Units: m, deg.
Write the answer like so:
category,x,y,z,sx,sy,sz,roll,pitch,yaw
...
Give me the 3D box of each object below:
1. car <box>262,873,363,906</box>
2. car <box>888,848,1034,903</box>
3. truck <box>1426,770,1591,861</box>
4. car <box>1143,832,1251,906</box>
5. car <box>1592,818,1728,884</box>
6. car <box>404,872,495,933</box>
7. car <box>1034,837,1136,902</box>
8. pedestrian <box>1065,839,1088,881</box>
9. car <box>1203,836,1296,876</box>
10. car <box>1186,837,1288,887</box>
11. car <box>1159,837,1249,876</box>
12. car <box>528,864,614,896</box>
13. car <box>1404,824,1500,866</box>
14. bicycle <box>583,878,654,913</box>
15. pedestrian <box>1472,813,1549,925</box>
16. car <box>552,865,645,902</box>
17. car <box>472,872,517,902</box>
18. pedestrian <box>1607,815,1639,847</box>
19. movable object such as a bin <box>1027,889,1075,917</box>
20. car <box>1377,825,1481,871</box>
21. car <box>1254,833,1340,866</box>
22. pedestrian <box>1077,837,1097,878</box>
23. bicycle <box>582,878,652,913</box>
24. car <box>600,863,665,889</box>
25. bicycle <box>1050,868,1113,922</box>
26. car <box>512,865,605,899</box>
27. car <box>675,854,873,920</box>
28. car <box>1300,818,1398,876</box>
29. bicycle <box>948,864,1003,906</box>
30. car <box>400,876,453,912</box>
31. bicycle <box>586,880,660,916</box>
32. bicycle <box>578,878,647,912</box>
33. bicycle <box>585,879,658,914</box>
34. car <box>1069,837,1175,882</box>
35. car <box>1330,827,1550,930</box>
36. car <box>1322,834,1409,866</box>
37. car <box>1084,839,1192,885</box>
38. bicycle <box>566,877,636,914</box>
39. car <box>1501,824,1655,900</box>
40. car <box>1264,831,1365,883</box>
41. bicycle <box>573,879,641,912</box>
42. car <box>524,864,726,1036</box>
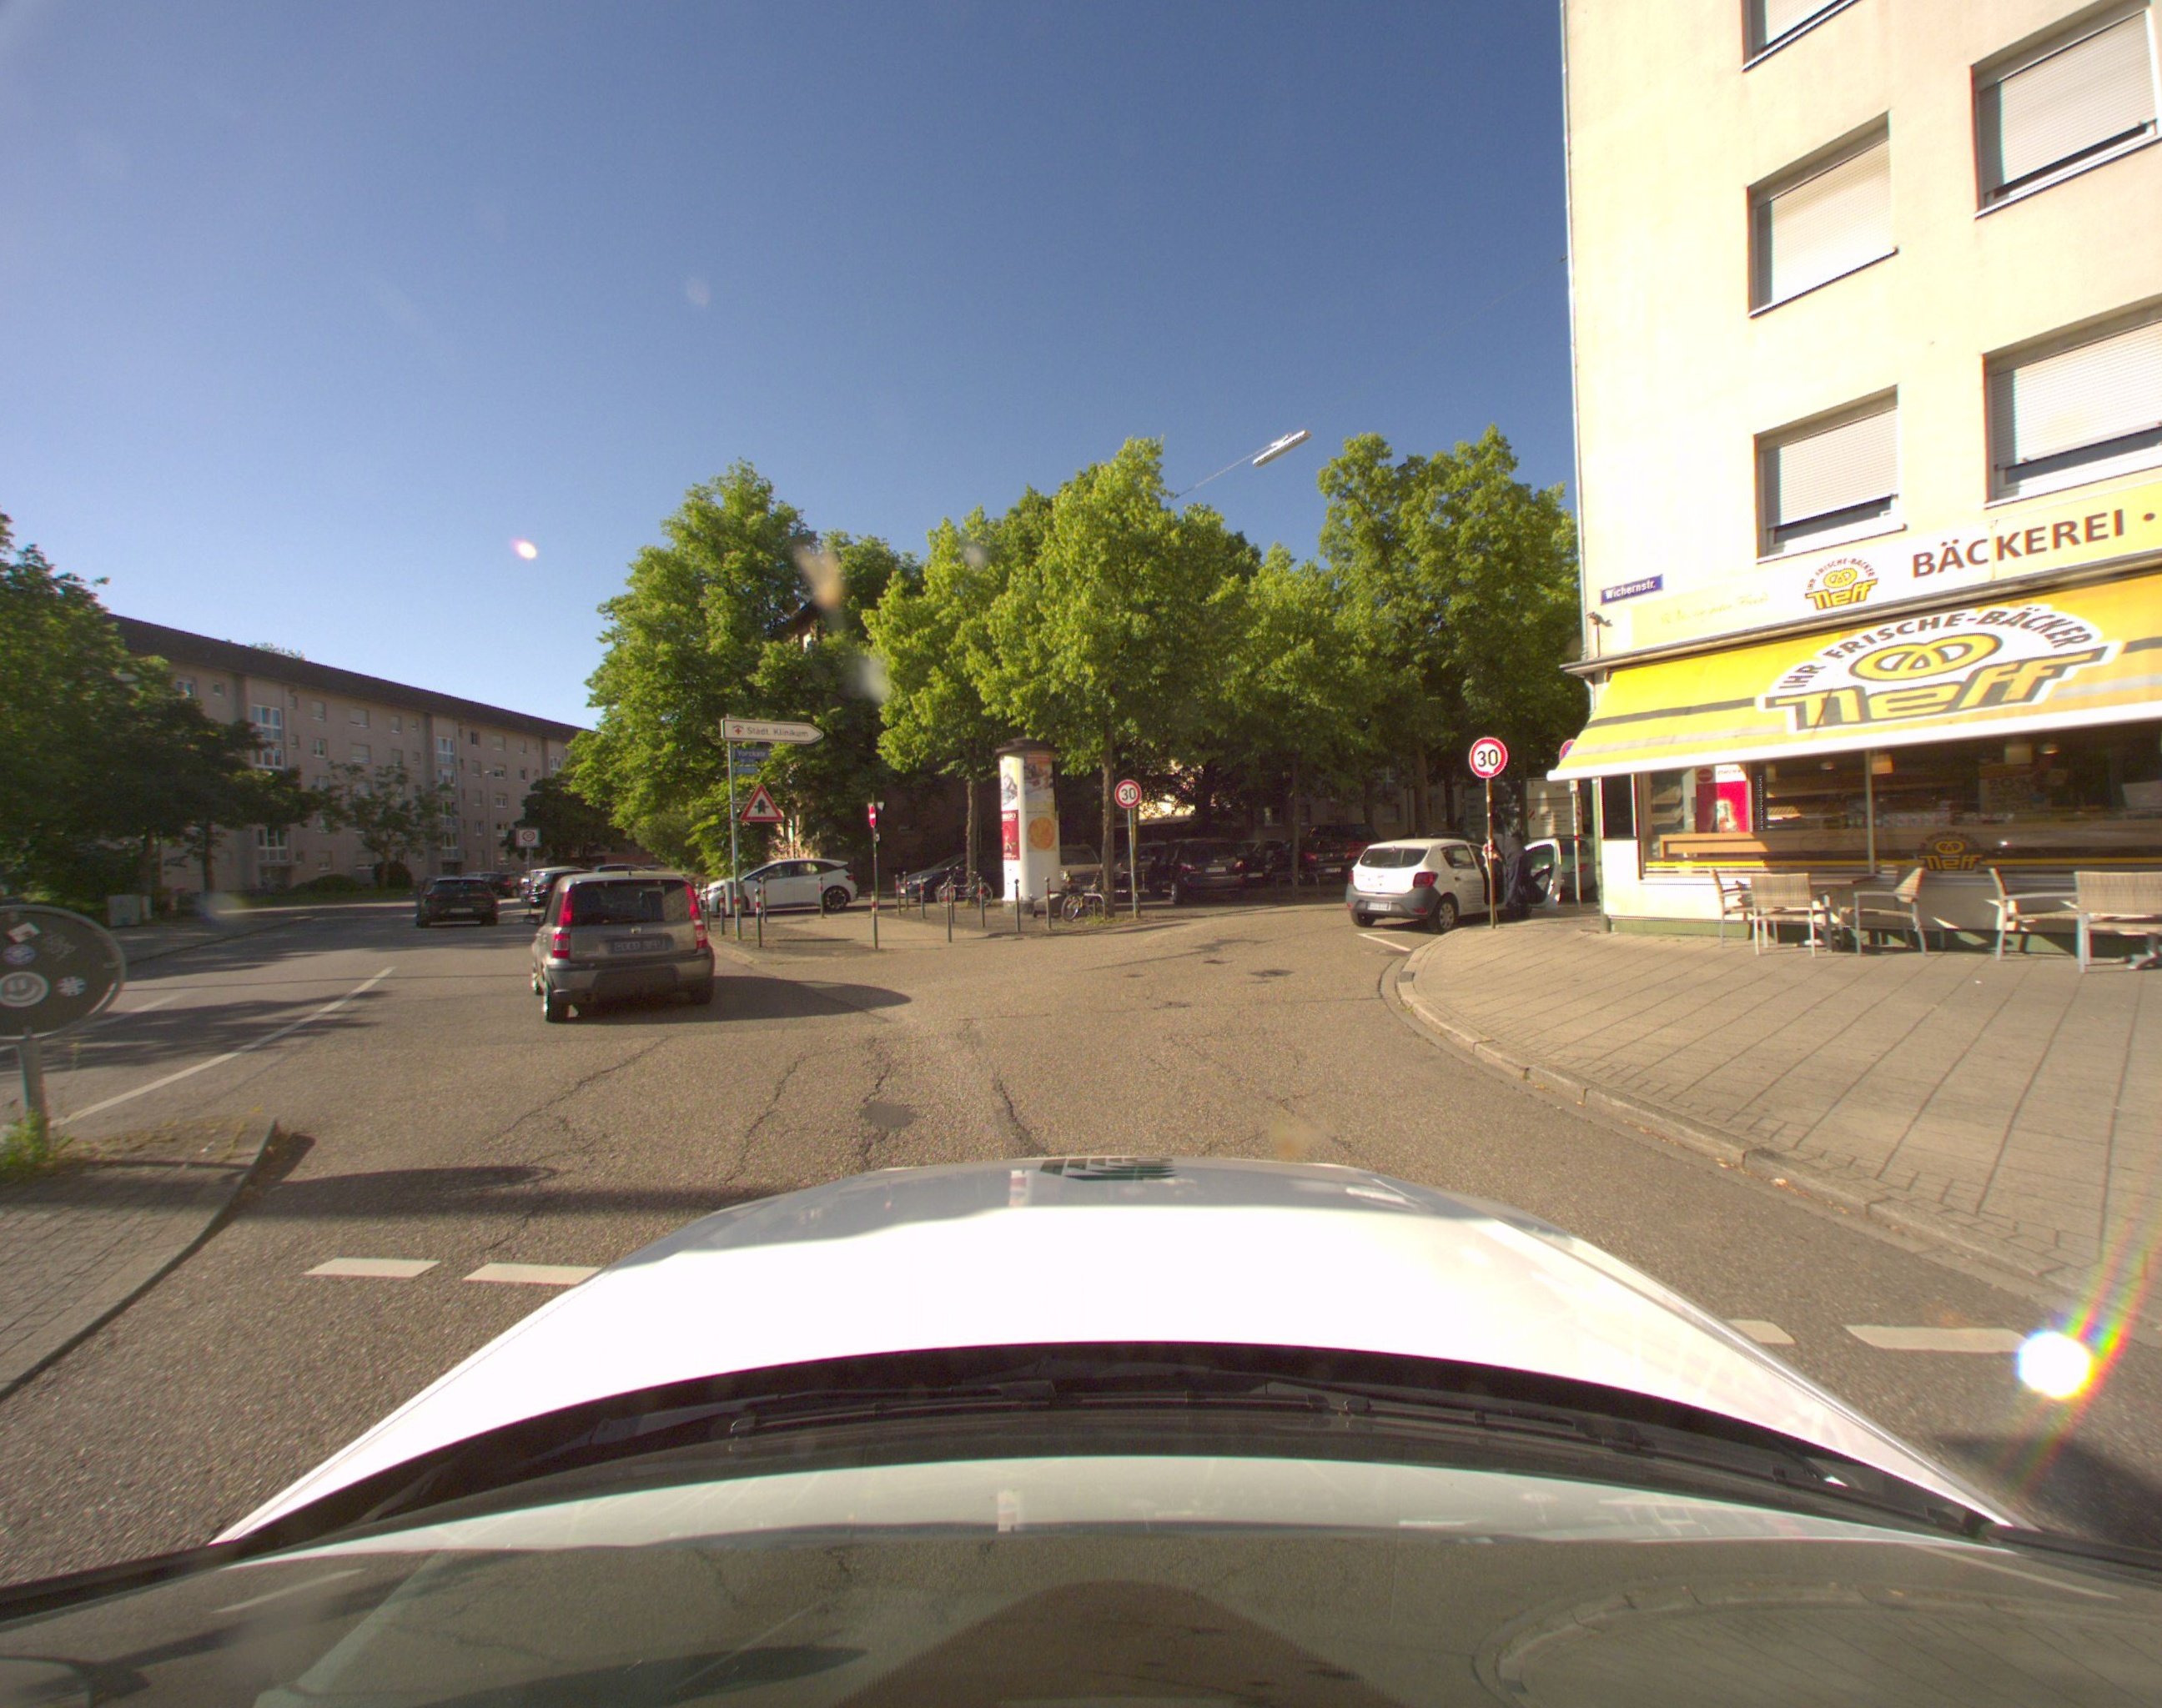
category,x,y,z,sx,sy,sz,roll,pitch,yaw
car,-49.321,2.273,52.349,4.398,1.798,2.067,-3,0,-1
car,-3.886,0.657,26.740,4.320,1.518,1.888,-3,1,-36
truck,17.524,-1.444,34.072,2.534,3.293,7.314,-3,0,-4
car,2.986,0.302,21.893,1.829,1.671,4.329,-2,3,-6
car,14.921,-0.124,20.890,4.464,1.463,1.786,-3,1,-41
car,-18.080,1.337,23.259,1.693,1.508,3.712,-3,1,-43
car,0.006,0.420,23.359,1.920,1.610,3.980,-3,0,-15
pedestrian,-0.187,0.263,34.124,0.542,1.735,0.733,-3,0,-40
car,7.033,0.071,33.815,3.972,1.486,1.738,-3,1,-43
car,4.903,0.226,26.168,1.817,1.422,3.934,-3,1,-12
car,5.631,0.101,37.143,3.967,1.569,1.740,-3,1,-36
car,-27.926,1.399,44.728,1.600,1.481,3.616,-2,1,29
car,15.057,-0.370,33.359,1.803,1.507,4.341,-2,1,-2
bicycle,-16.049,1.436,28.273,2.046,1.031,0.463,-4,1,-45
pedestrian,6.939,0.233,13.173,0.747,1.722,0.754,-3,0,-30
car,-22.212,1.323,37.586,1.600,1.481,3.278,-2,1,29
car,-33.691,1.864,46.864,1.689,1.508,3.561,-3,1,-30
pedestrian,24.891,-1.060,37.423,0.924,1.396,0.752,-3,0,-5
movable object such as a bin,-0.694,1.148,19.094,0.570,0.565,1.121,-2,1,33
car,12.661,-0.229,29.936,1.803,1.507,4.341,-2,1,-2
car,10.895,-0.244,40.942,4.363,1.435,1.750,-3,1,-36
pedestrian,0.262,0.150,34.977,0.738,1.735,0.539,-3,0,-3
bicycle,-16.329,1.447,28.681,2.046,1.031,0.443,-4,1,-45
car,-29.097,1.404,52.902,3.604,1.481,1.605,-3,1,-31
bicycle,0.028,0.878,18.000,0.349,1.072,1.602,-2,1,43
car,-26.657,1.412,41.688,1.600,1.481,3.616,-2,1,29
car,-8.813,0.886,23.519,5.052,1.518,1.905,-3,1,-30
car,9.630,-0.258,29.715,1.924,1.873,4.500,-2,1,-2
bicycle,-2.926,0.856,22.694,0.349,1.072,1.602,-2,1,43
car,-30.471,1.813,37.980,1.691,1.508,3.556,-3,1,-36
bicycle,-15.294,1.460,27.254,2.046,1.031,0.564,-4,1,-45
bicycle,-16.721,1.452,29.132,2.046,1.031,0.443,-4,1,-45
bicycle,-15.693,1.443,27.842,2.046,1.031,0.564,-4,1,-45
car,1.747,0.219,33.927,4.267,1.640,1.739,-3,1,-38
car,6.436,0.358,14.461,4.040,1.497,1.706,-3,1,-35
car,13.480,-0.204,38.490,4.436,1.294,1.749,-3,-1,-40
car,2.159,0.283,30.266,3.972,1.486,1.738,-3,1,-43
bicycle,-17.659,1.506,29.989,2.046,1.177,0.660,-4,1,-45
car,11.068,0.134,18.066,3.689,1.463,1.584,-3,1,-36
car,7.421,0.081,26.276,1.754,1.480,3.814,-3,1,-7
bicycle,-17.159,1.494,29.526,2.046,1.031,0.443,-4,1,-45
car,-5.456,0.952,9.570,1.629,1.561,3.221,-3,1,-36
